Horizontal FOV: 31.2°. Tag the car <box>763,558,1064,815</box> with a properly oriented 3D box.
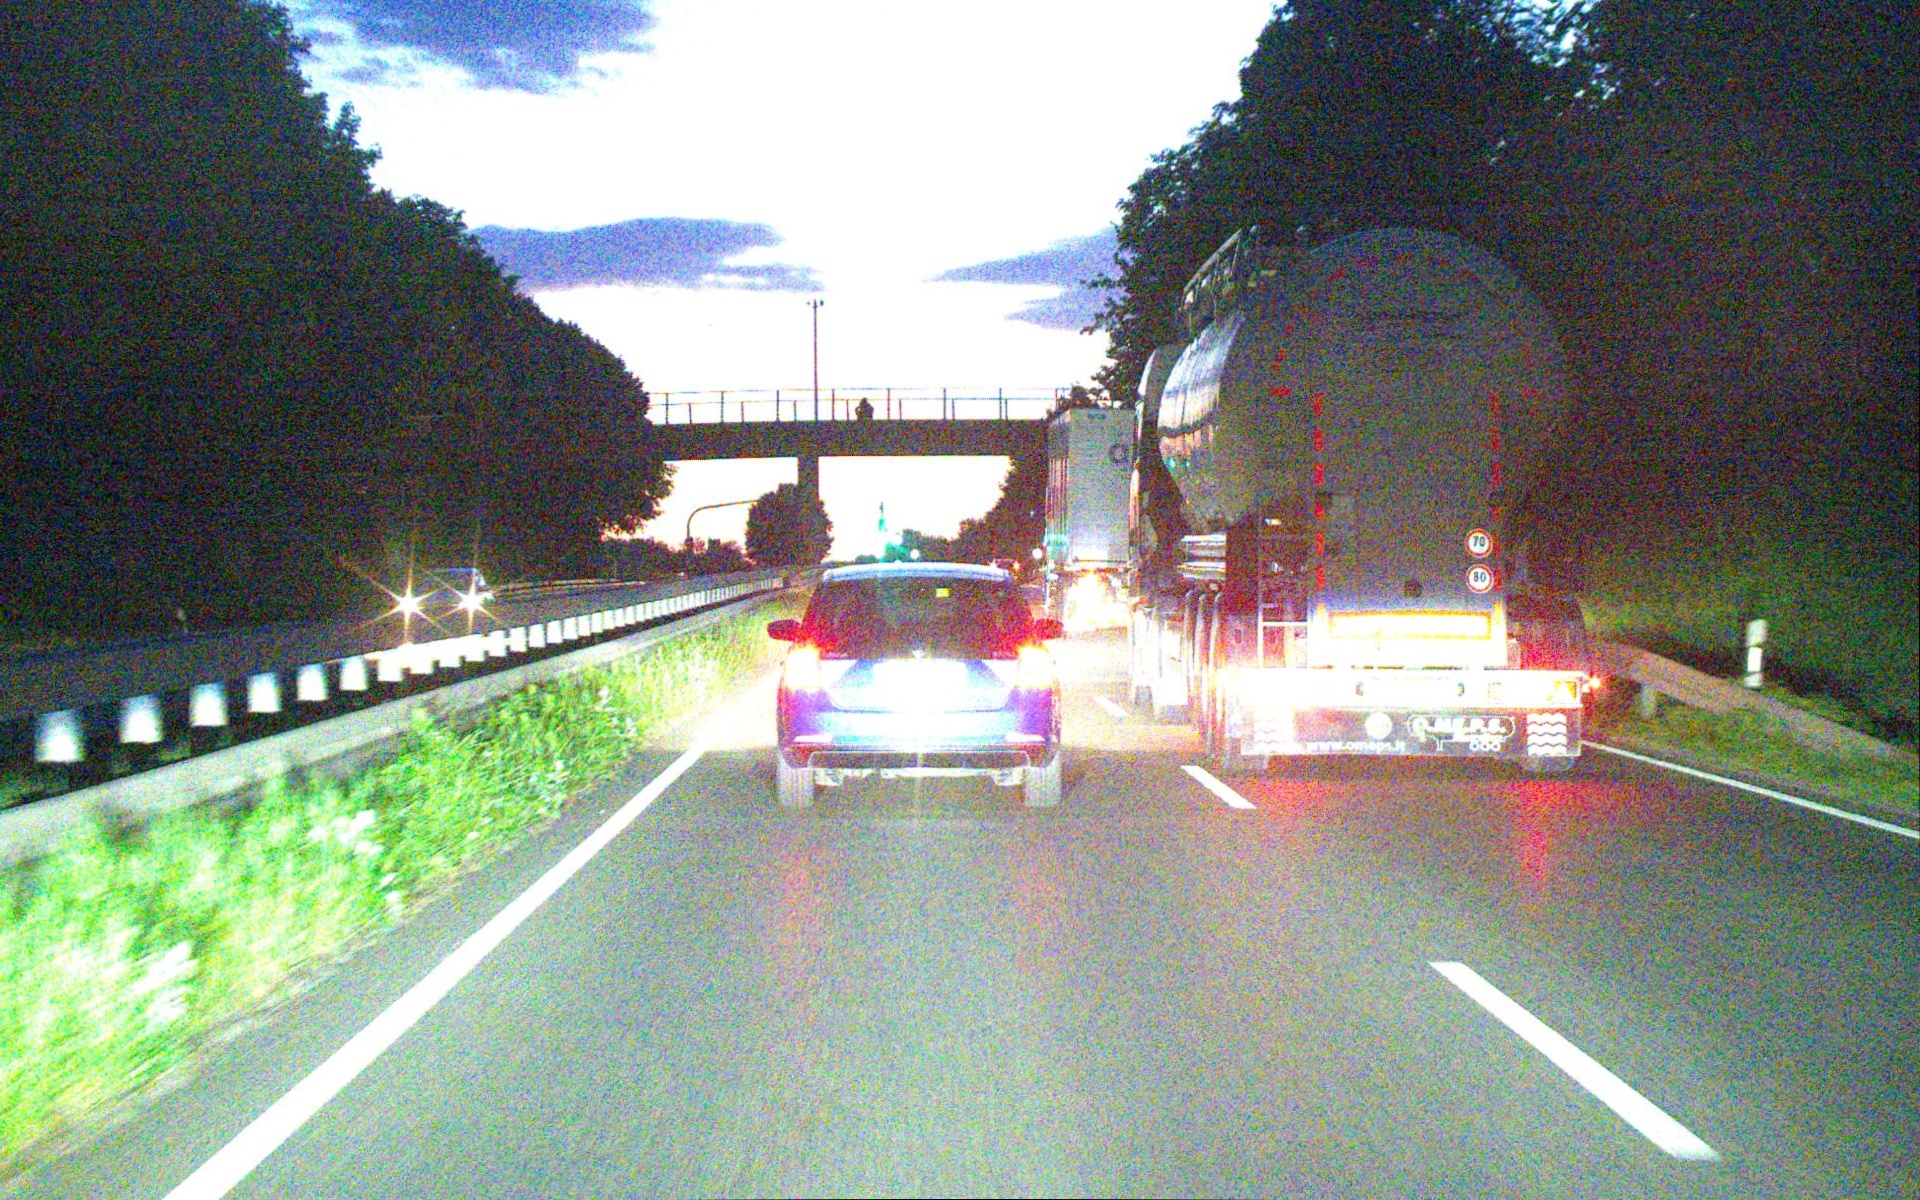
[{"bbox_3d":[-0.292,0.477,21.474,1.695,1.447,3.914,1,0,-1],"label":"car"}]

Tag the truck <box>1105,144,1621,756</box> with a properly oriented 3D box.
[{"bbox_3d":[2.995,-1.059,29.725,2.687,4.092,13.142,1,0,-1],"label":"truck"}]

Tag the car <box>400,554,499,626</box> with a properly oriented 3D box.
[{"bbox_3d":[-11.019,-0.219,74.420,1.617,1.502,3.869,1,0,-1],"label":"car"}]

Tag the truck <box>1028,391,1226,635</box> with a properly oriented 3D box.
[{"bbox_3d":[2.947,-1.524,64.445,2.883,4.092,12.684,1,0,-1],"label":"truck"}]

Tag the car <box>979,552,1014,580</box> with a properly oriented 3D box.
[{"bbox_3d":[1.914,-1.788,179.926,1.695,1.447,3.914,1,0,-1],"label":"car"}]
